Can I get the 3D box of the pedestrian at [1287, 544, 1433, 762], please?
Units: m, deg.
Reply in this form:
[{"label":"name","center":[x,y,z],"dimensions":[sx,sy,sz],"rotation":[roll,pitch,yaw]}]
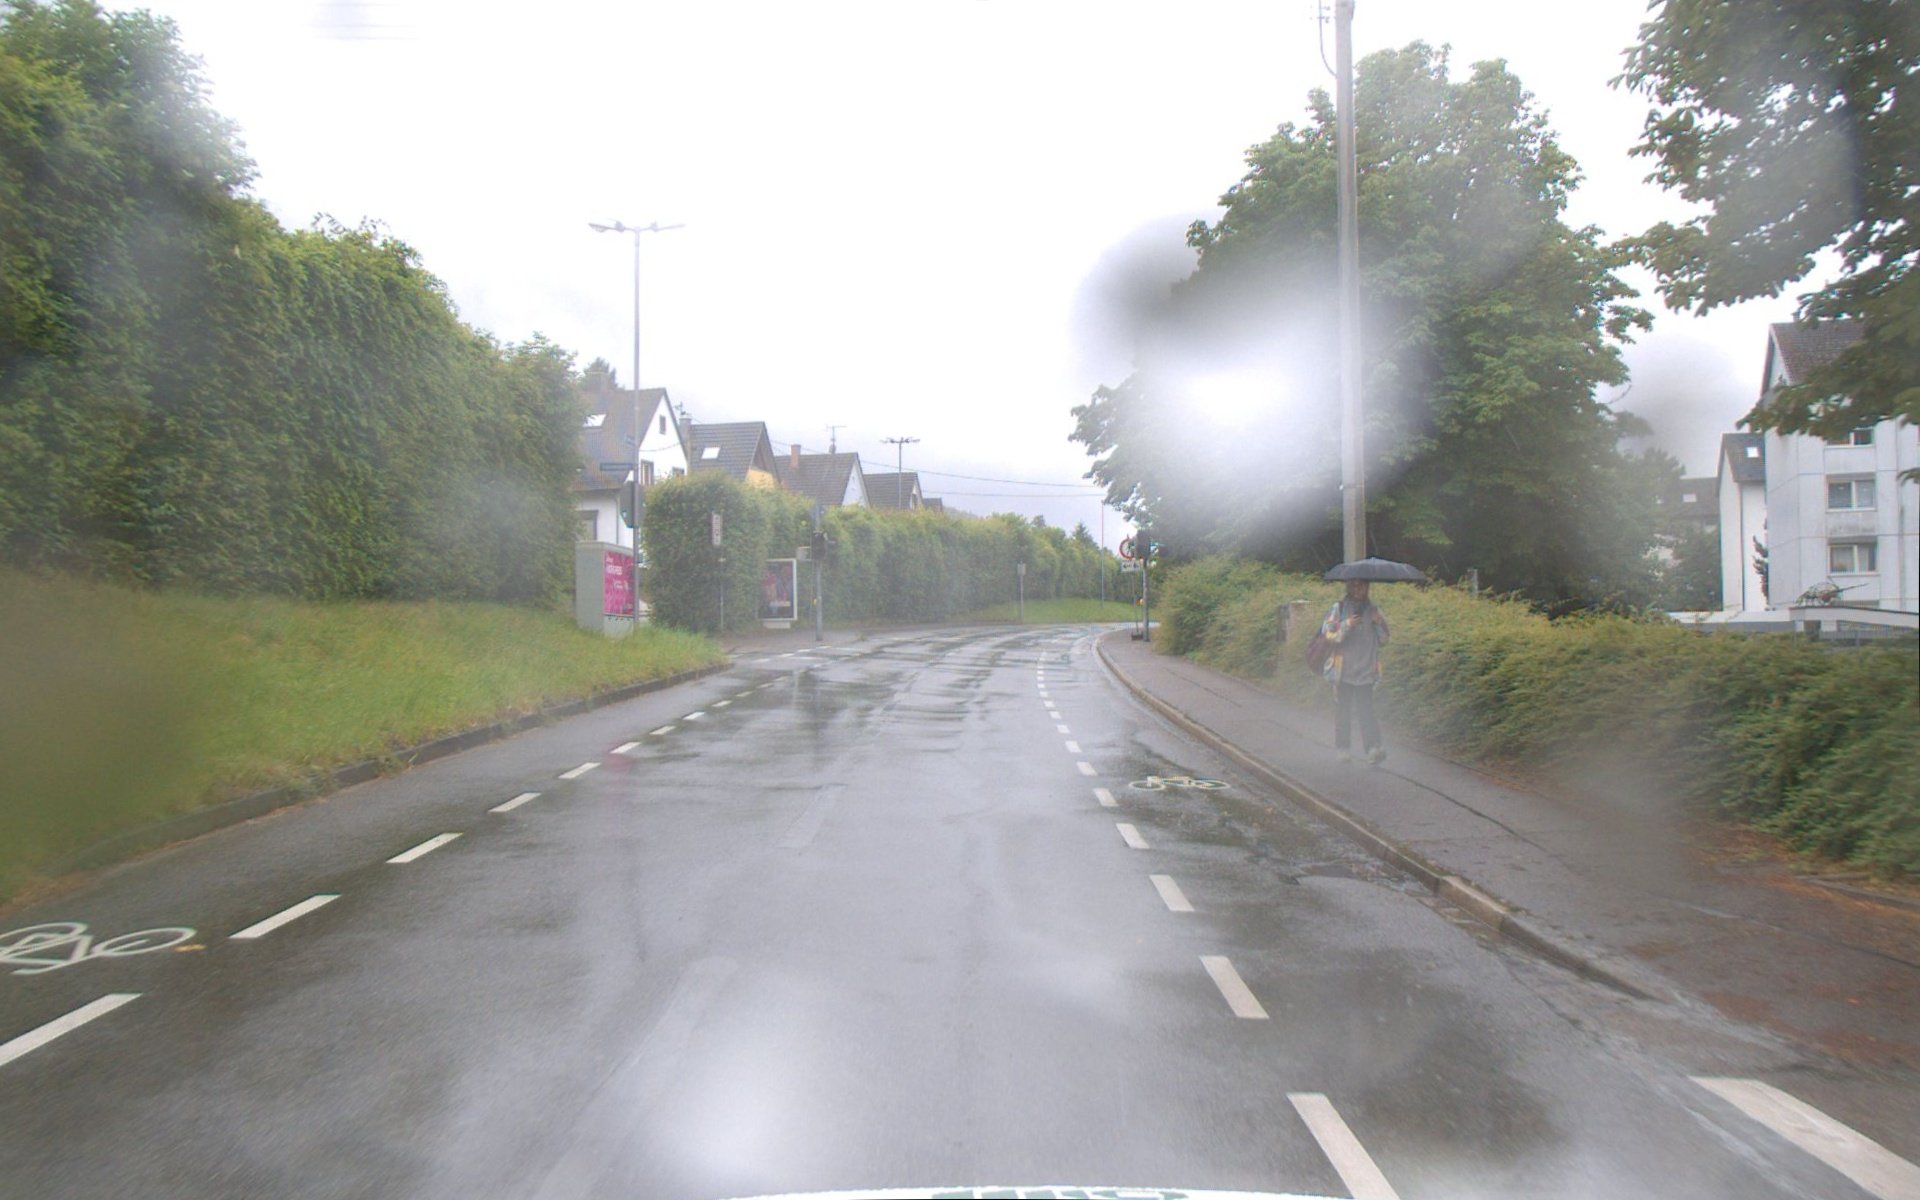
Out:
[{"label":"pedestrian","center":[3.294,0.420,13.720],"dimensions":[0.901,1.704,1.057],"rotation":[-2,0,0]}]
